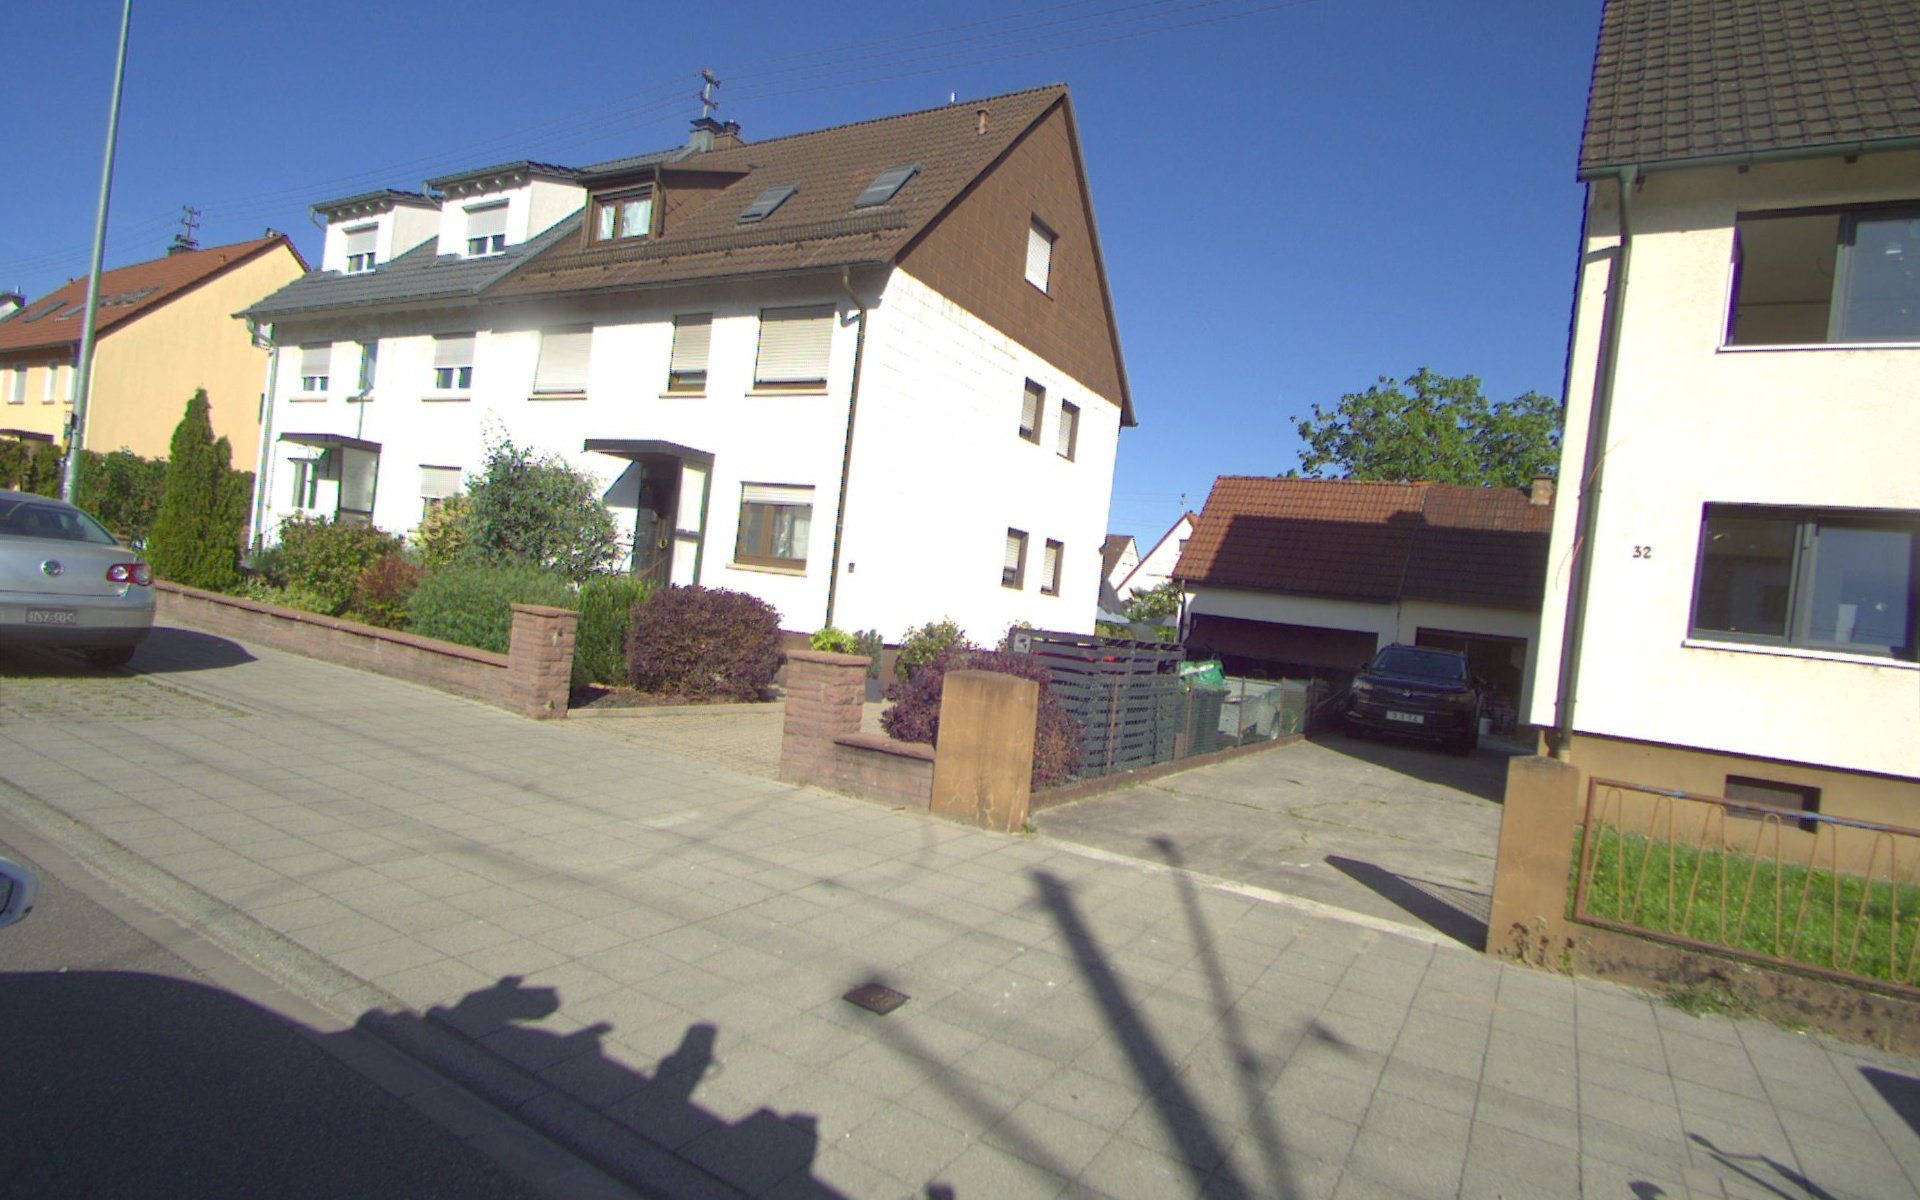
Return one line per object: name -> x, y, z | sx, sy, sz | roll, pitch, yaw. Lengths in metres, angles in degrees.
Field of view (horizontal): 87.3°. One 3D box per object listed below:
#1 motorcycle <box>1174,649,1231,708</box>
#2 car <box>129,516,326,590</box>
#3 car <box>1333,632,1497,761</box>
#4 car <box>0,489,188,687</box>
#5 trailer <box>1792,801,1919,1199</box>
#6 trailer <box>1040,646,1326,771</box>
motorcycle -> 5.475, 1.758, 22.870 | 0.700, 1.104, 1.966 | 7, 1, 0
car -> -20.006, -1.251, 27.640 | 1.783, 1.437, 3.891 | 6, -1, 28
car -> 7.673, 1.553, 16.756 | 1.876, 1.660, 3.992 | 7, 0, 31
car -> -9.275, -0.335, 8.999 | 5.194, 1.477, 1.733 | 7, 0, 29
trailer -> 4.779, 1.466, 0.480 | 6.325, 1.146, 2.273 | 7, 2, 29
trailer -> 3.295, 1.418, 13.869 | 2.101, 1.170, 5.124 | 6, -1, 33
